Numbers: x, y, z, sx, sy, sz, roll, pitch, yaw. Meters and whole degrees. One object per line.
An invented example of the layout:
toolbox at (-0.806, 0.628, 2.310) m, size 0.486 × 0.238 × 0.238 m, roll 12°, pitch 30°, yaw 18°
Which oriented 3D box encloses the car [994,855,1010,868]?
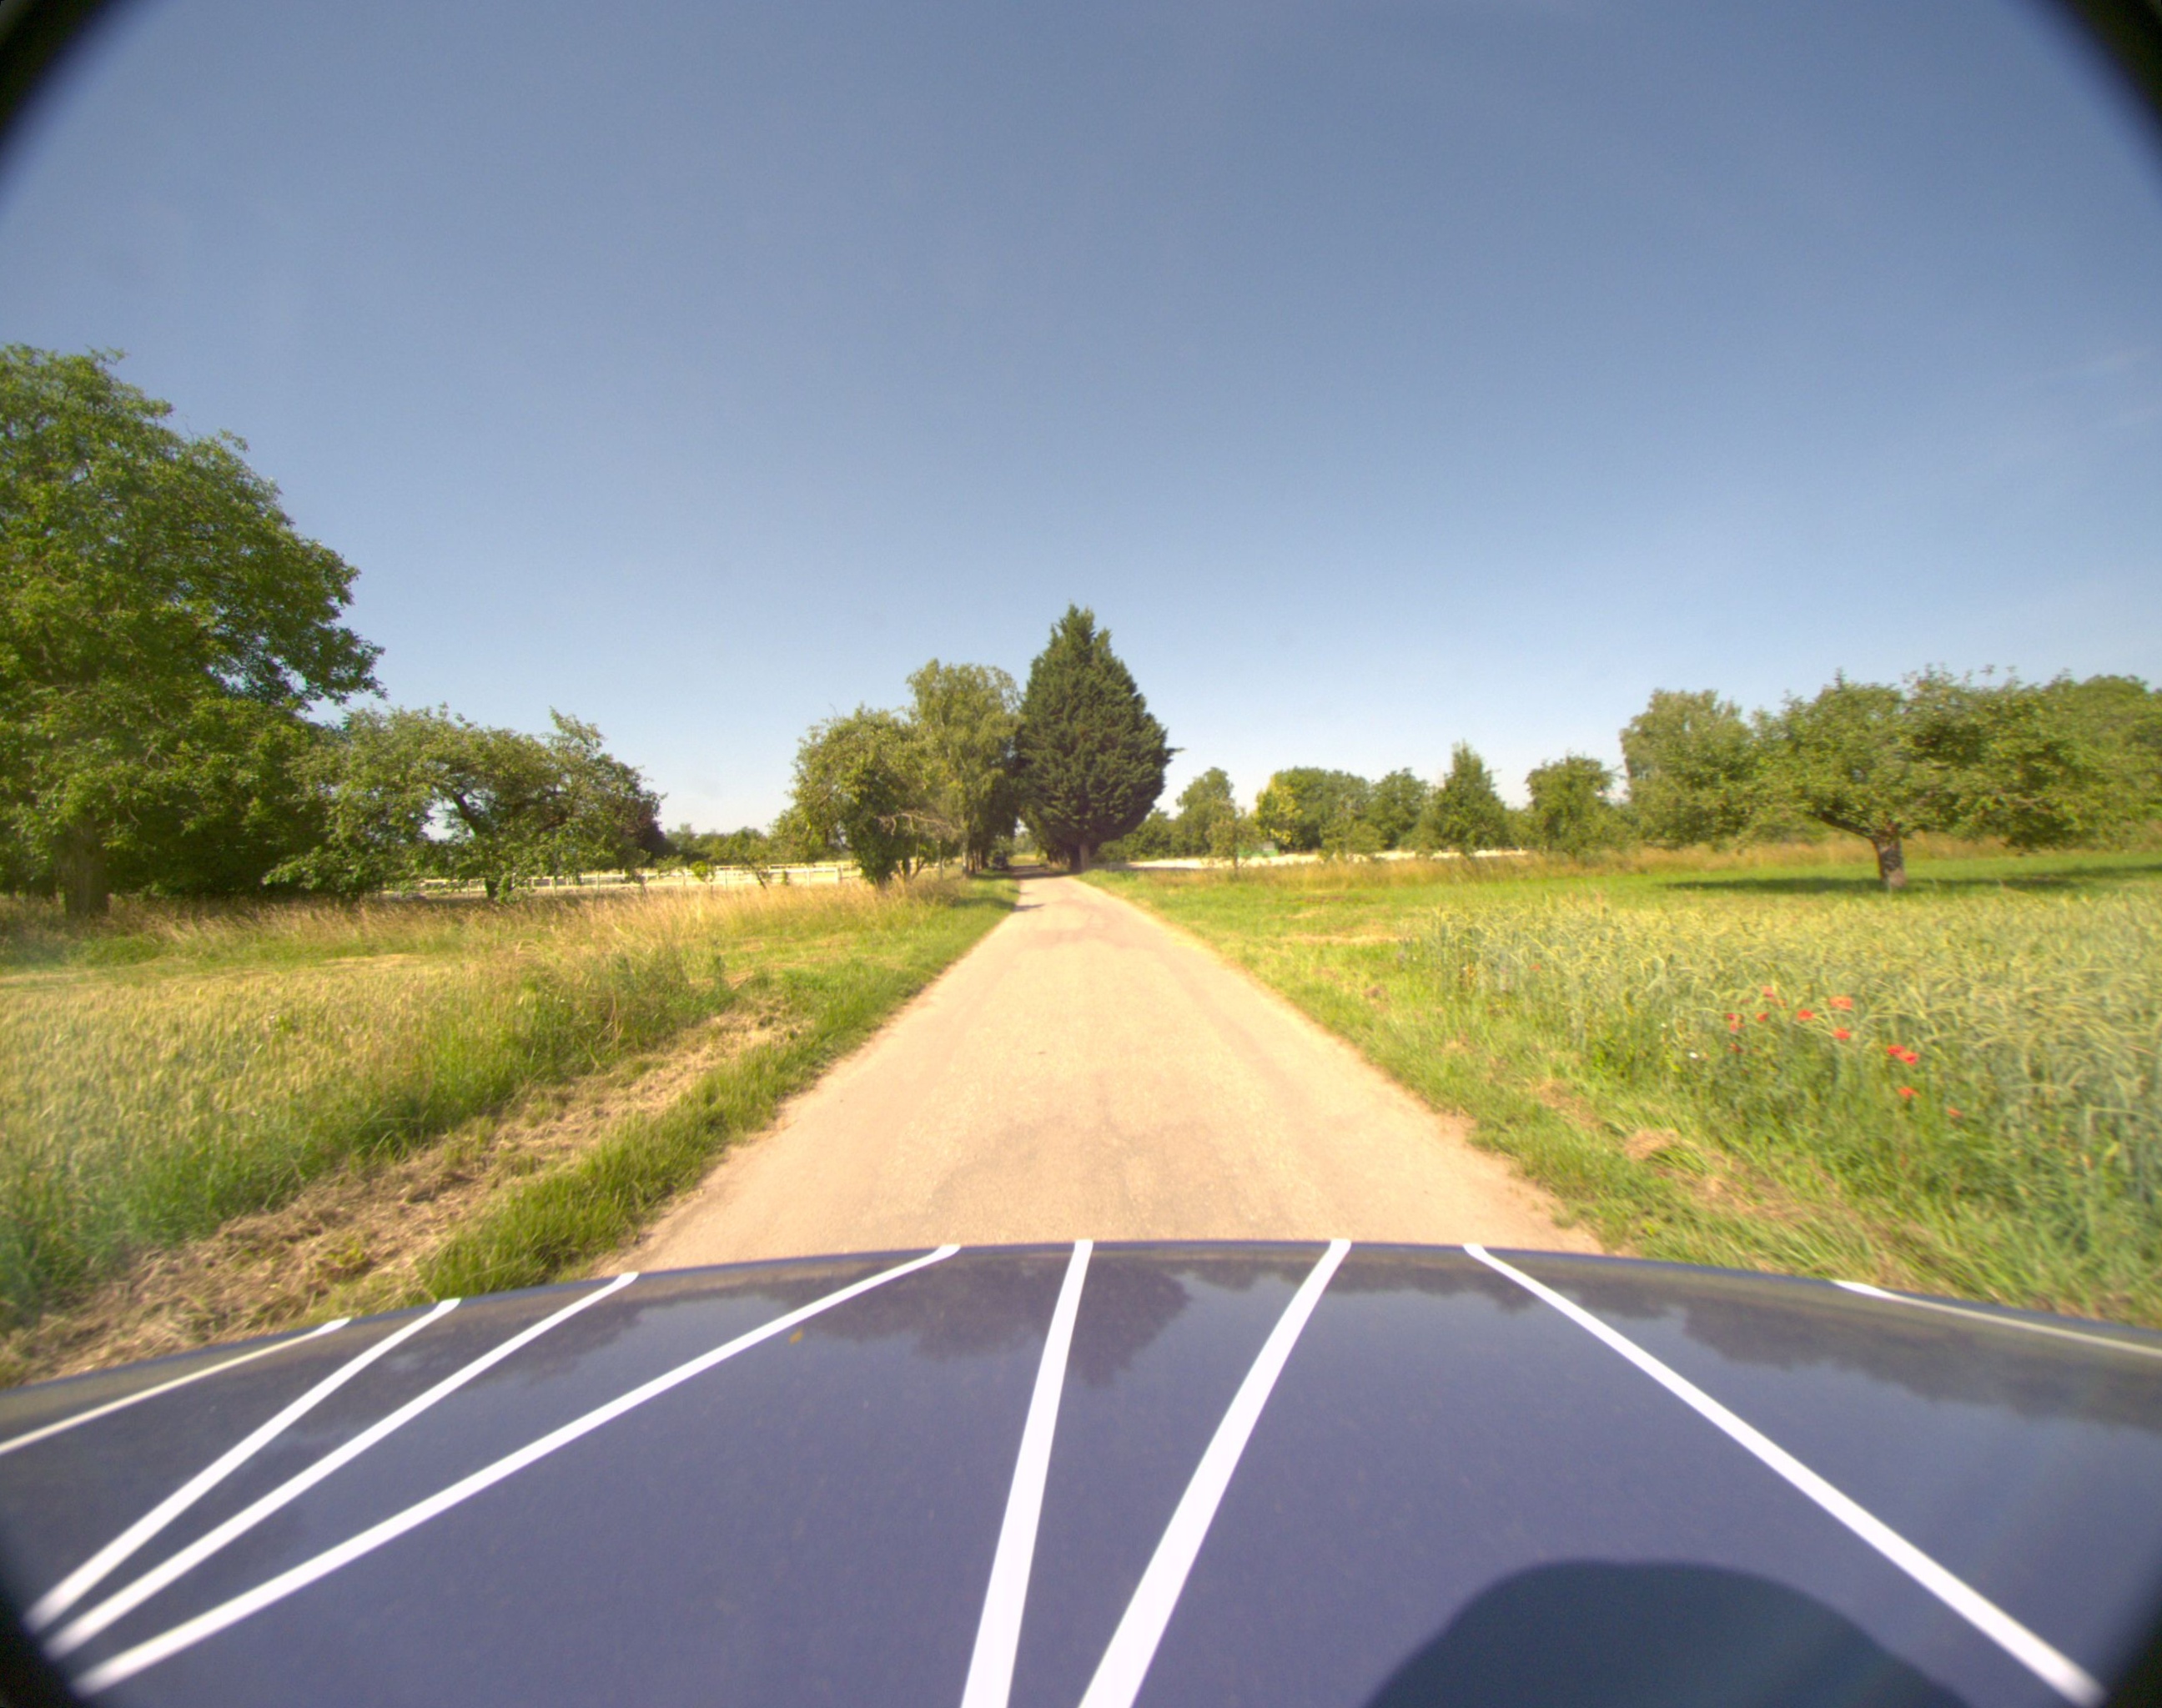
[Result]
car at (-8.909, 0.856, 85.569) m, size 1.722 × 1.312 × 3.741 m, roll -2°, pitch 0°, yaw -7°
